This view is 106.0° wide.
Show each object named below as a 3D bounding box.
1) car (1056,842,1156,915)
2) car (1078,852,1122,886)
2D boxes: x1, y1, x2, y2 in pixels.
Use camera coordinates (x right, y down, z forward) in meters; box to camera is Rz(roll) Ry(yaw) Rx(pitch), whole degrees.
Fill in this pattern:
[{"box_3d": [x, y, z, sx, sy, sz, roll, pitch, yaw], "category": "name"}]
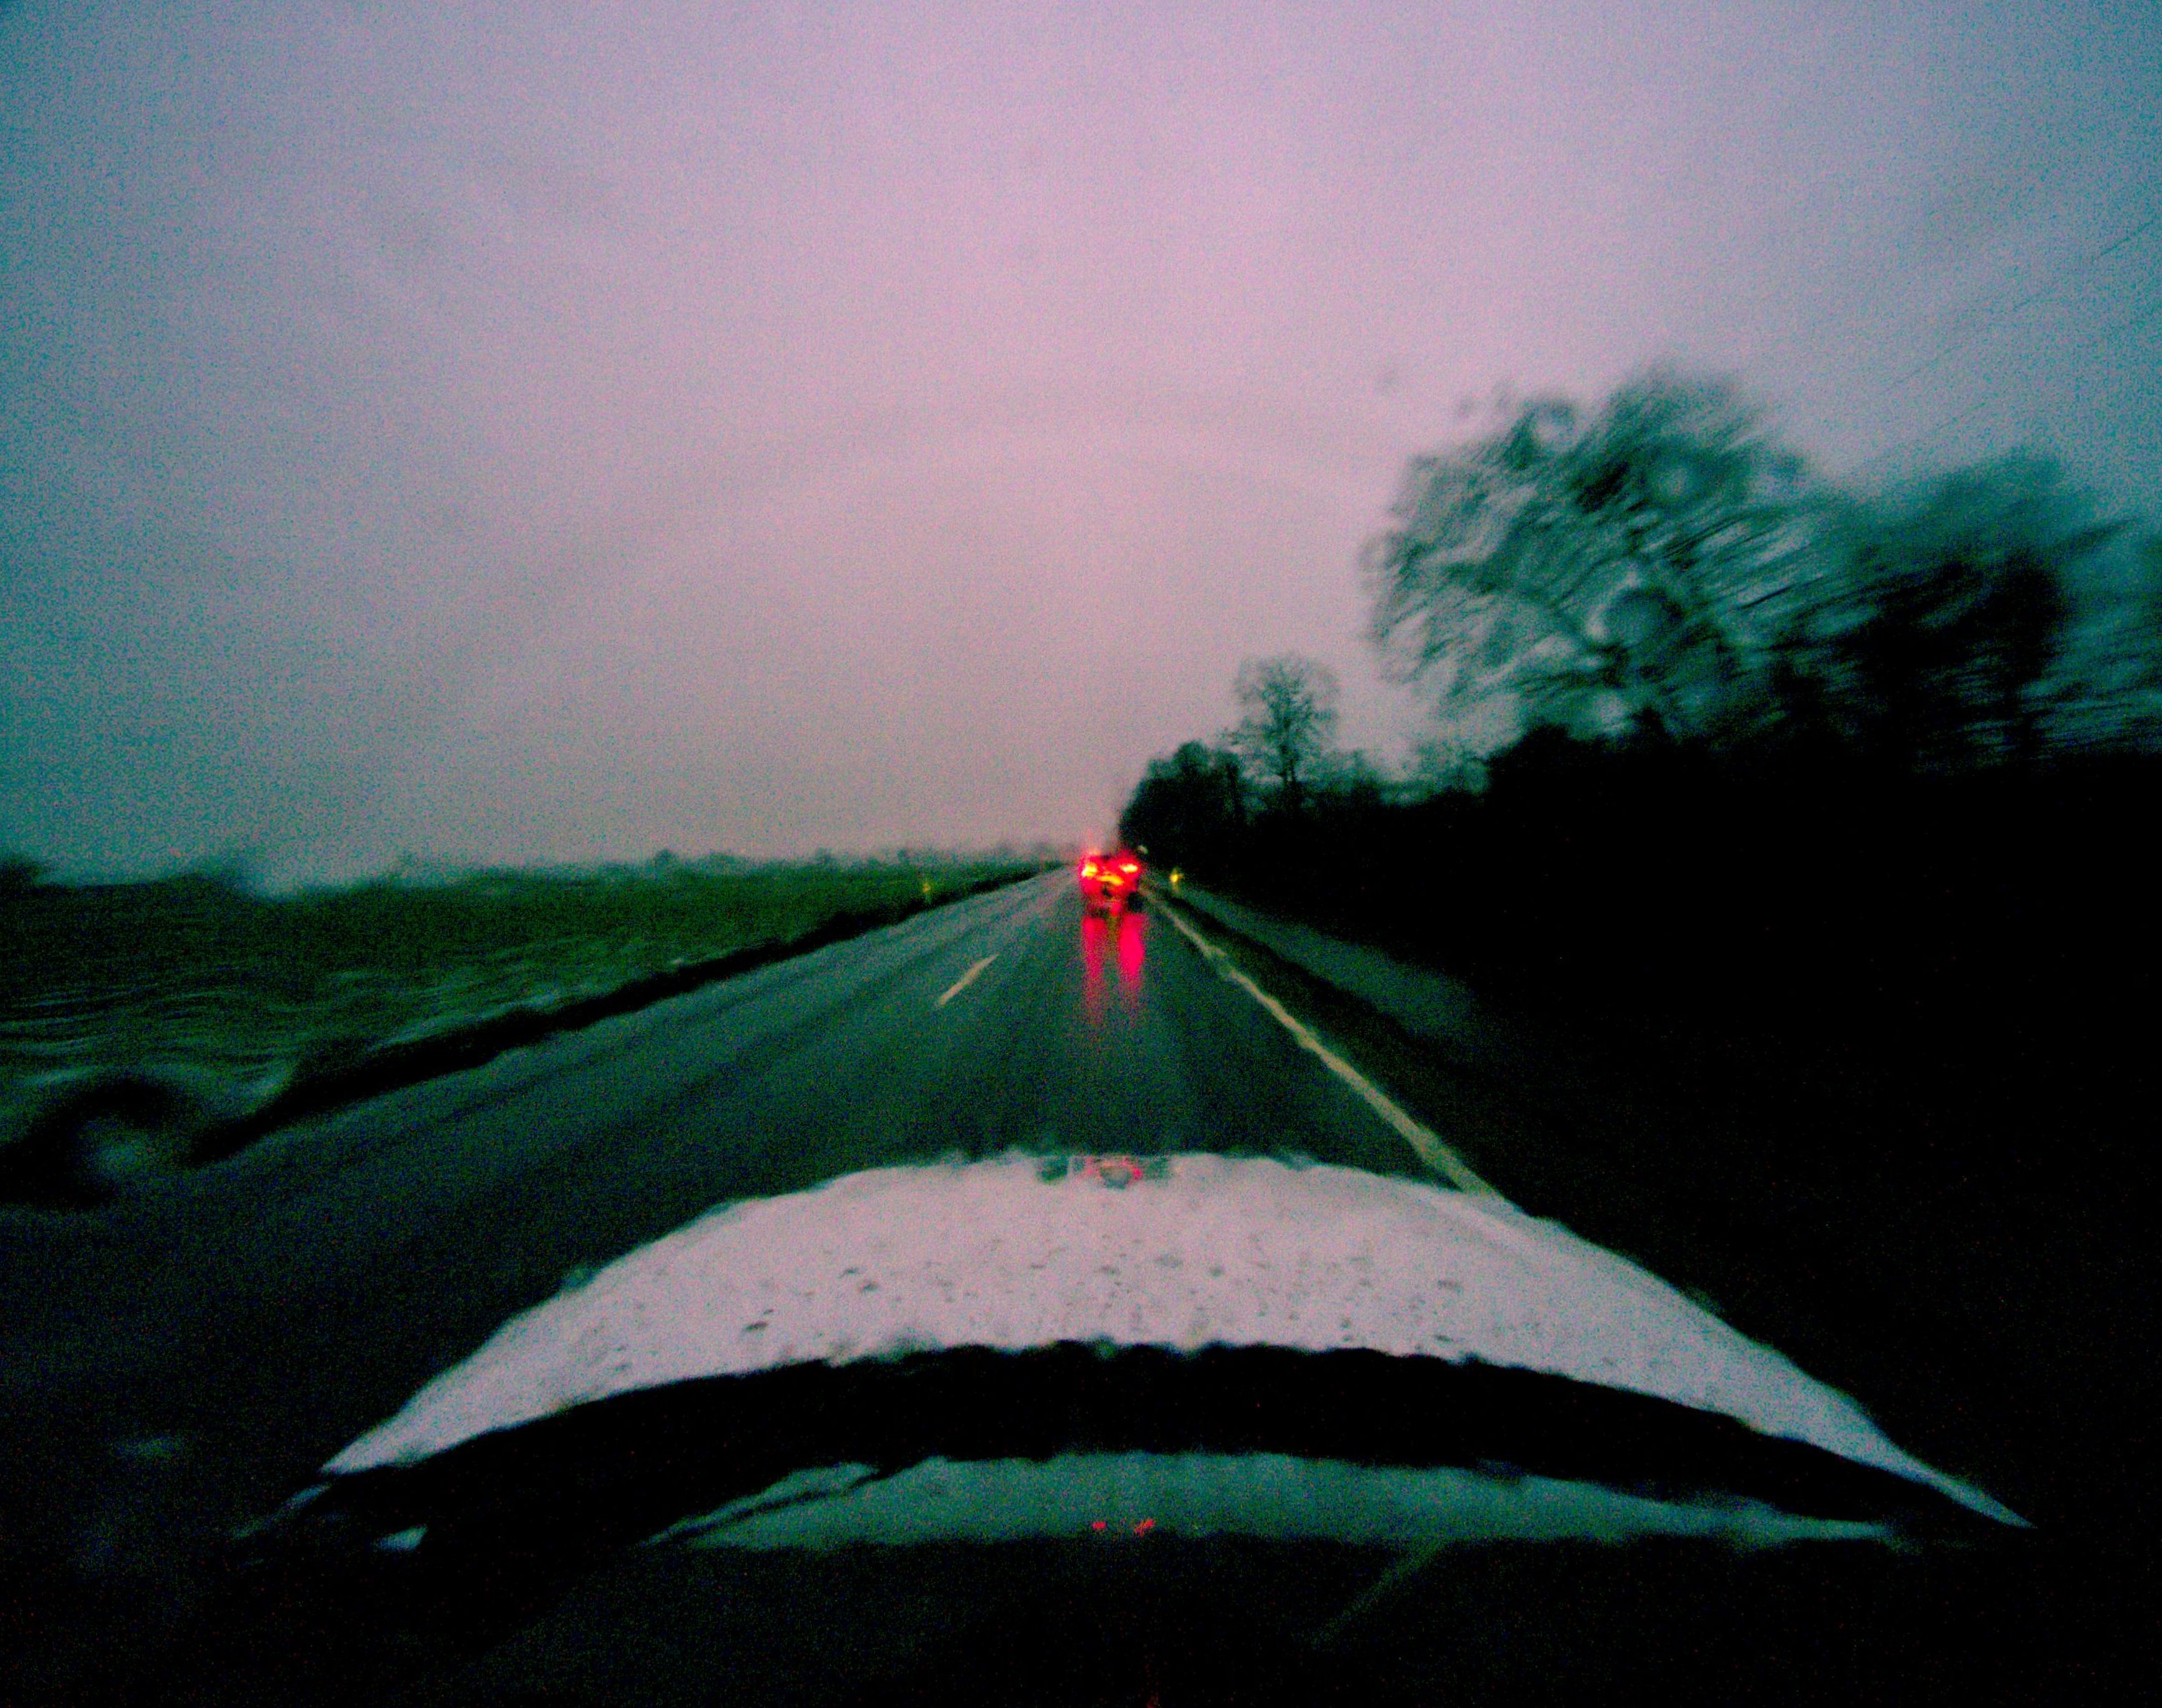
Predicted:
[{"box_3d": [0.815, 0.721, 26.094, 2.809, 2.077, 5.807, 0, 0, 2], "category": "car"}, {"box_3d": [1.228, 0.895, 50.605, 2.582, 2.014, 5.807, 0, 0, 2], "category": "car"}]
